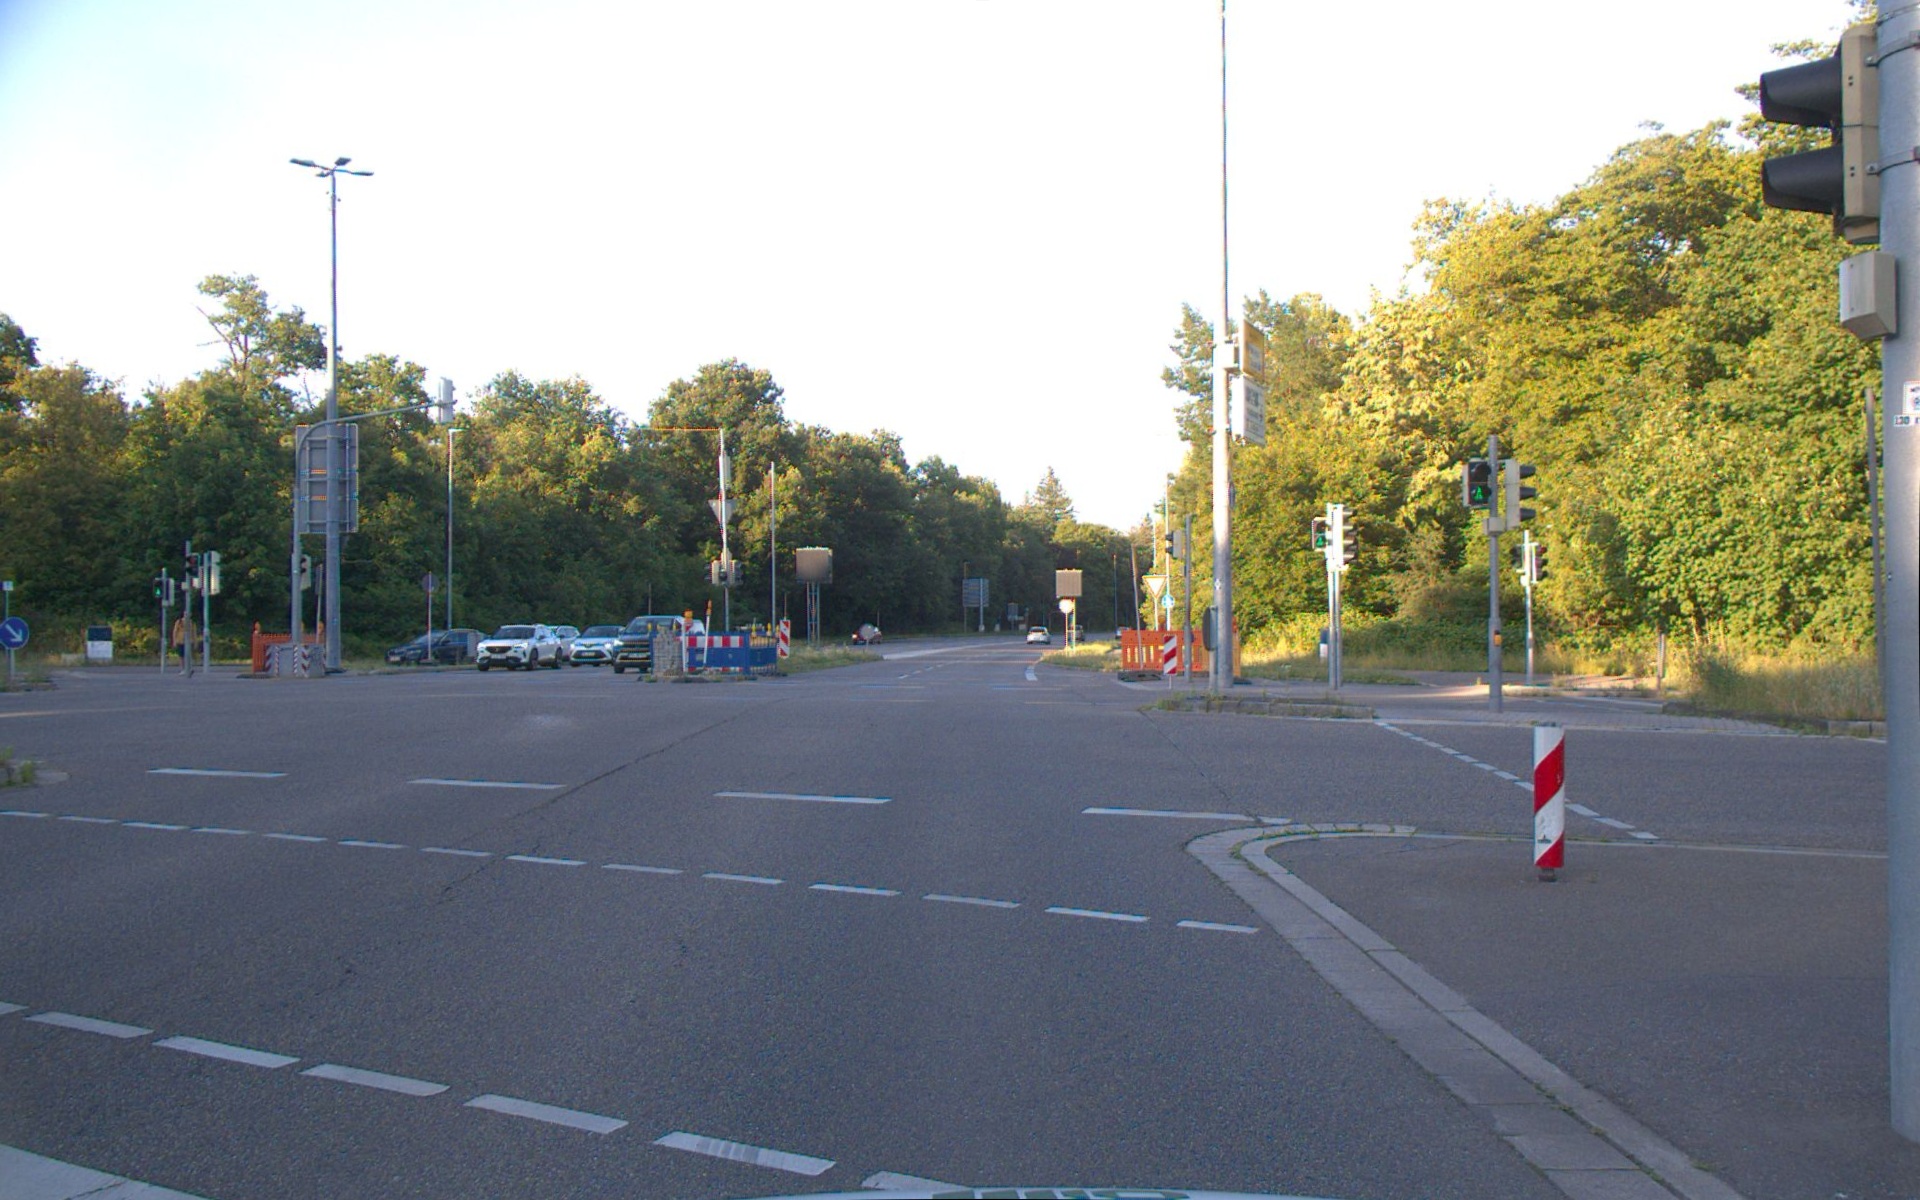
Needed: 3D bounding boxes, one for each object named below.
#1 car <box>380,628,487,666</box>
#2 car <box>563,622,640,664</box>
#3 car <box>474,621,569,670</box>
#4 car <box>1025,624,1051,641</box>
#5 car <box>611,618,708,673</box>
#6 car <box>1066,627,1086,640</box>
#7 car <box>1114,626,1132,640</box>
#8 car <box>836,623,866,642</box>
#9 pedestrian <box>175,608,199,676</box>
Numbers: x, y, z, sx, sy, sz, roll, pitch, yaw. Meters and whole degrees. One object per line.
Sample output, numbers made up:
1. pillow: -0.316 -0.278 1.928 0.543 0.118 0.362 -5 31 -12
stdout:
1. car: -18.798 1.657 59.221 1.570 1.266 3.644 -1 -1 26
2. car: -13.455 1.592 62.248 1.680 1.481 4.235 -1 0 5
3. car: -14.292 1.456 54.145 1.680 1.481 4.235 -1 0 5
4. car: 6.545 2.724 138.382 1.514 1.371 3.116 -1 0 16
5. car: -8.509 1.267 47.170 1.680 1.481 4.235 -1 0 5
6. car: 11.806 3.387 168.268 1.425 1.266 2.966 -1 0 14
7. car: 18.974 3.812 192.593 1.544 1.561 3.680 0 0 15
8. car: -8.966 2.669 136.413 1.838 1.447 4.235 -1 0 4
9. pedestrian: -20.919 1.130 44.756 0.567 1.832 0.743 0 -1 -27
